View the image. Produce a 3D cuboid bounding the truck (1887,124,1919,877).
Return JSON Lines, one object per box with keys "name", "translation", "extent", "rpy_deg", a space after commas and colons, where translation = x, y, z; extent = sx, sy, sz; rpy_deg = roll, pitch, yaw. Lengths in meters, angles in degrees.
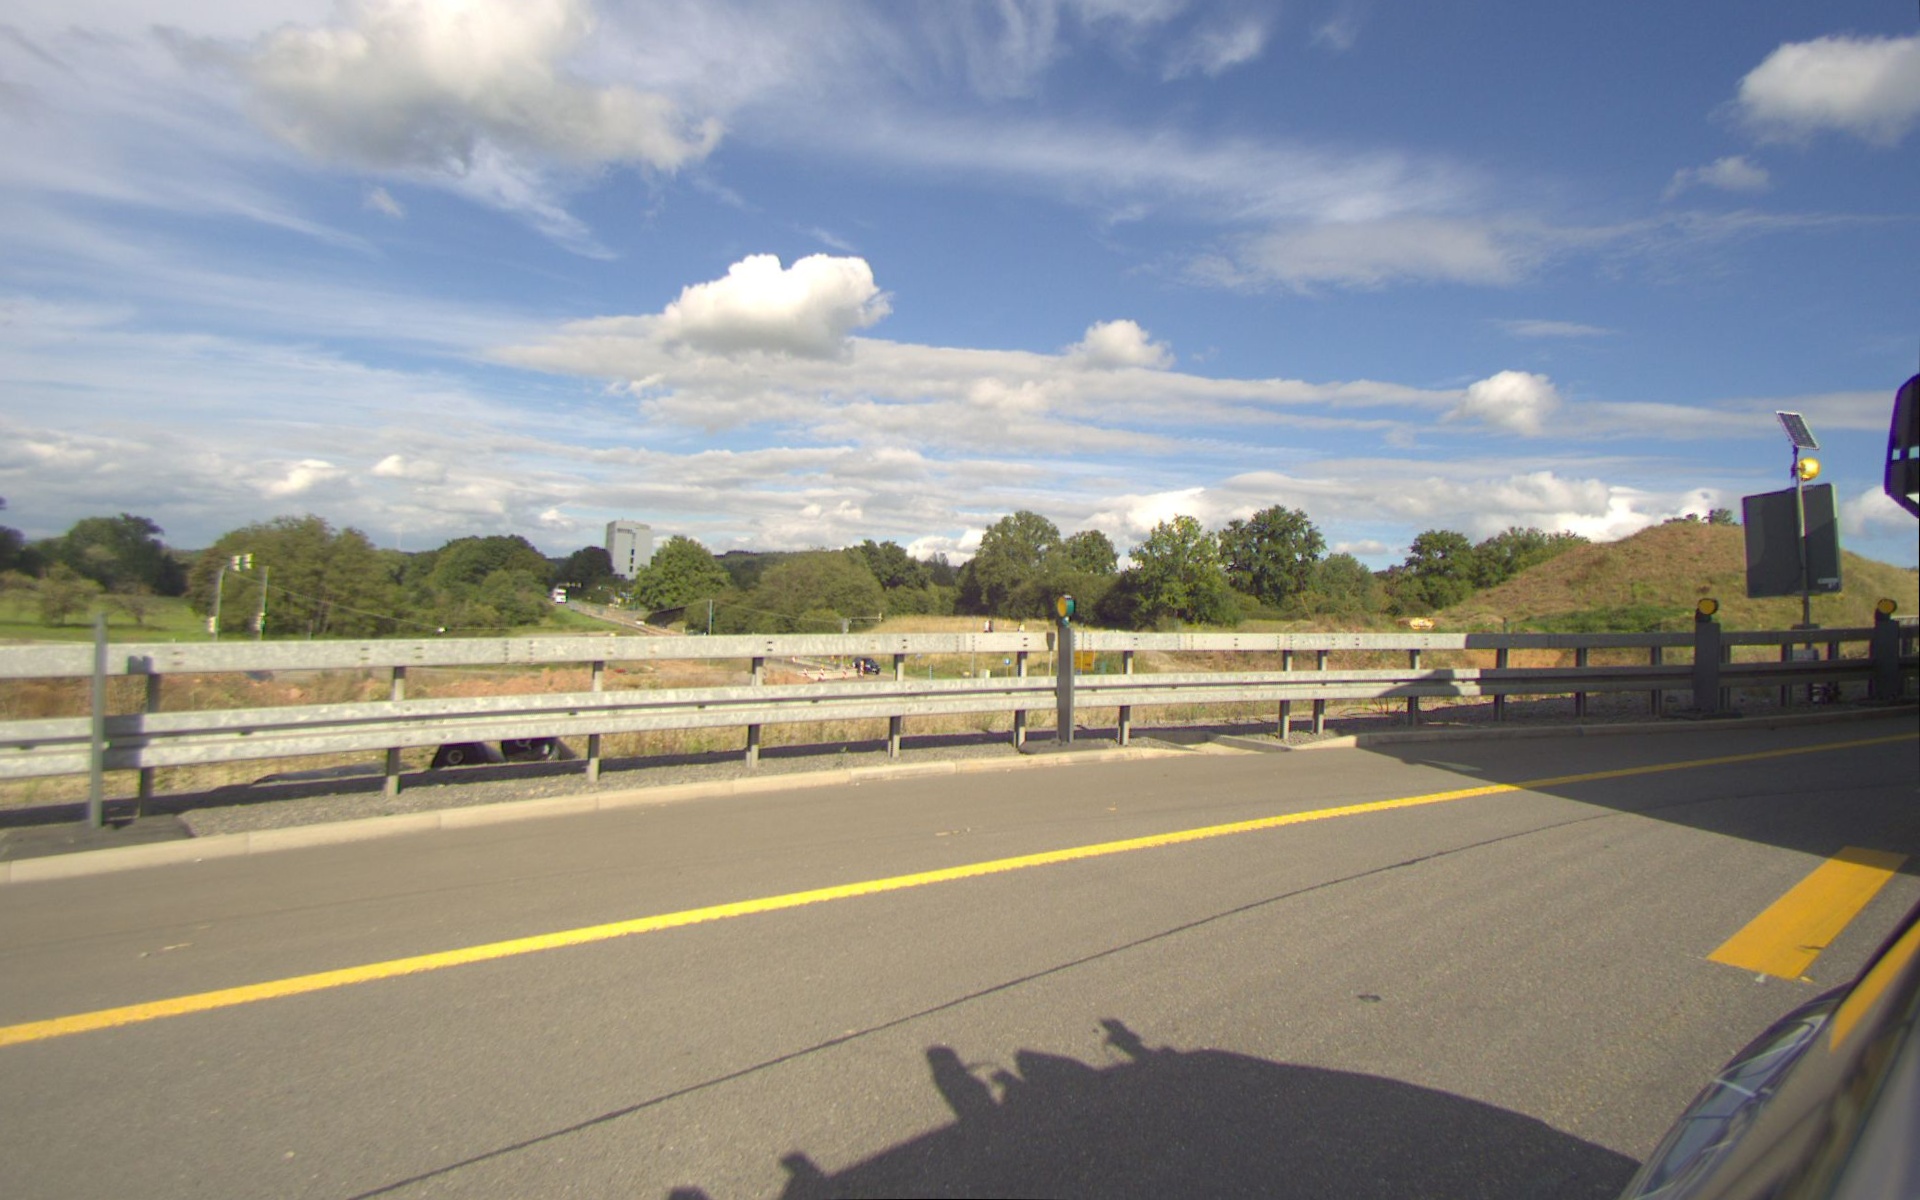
{"name": "truck", "translation": [9.515, -0.572, 7.750], "extent": [10.142, 3.896, 2.660], "rpy_deg": [-1, 0, -42]}
